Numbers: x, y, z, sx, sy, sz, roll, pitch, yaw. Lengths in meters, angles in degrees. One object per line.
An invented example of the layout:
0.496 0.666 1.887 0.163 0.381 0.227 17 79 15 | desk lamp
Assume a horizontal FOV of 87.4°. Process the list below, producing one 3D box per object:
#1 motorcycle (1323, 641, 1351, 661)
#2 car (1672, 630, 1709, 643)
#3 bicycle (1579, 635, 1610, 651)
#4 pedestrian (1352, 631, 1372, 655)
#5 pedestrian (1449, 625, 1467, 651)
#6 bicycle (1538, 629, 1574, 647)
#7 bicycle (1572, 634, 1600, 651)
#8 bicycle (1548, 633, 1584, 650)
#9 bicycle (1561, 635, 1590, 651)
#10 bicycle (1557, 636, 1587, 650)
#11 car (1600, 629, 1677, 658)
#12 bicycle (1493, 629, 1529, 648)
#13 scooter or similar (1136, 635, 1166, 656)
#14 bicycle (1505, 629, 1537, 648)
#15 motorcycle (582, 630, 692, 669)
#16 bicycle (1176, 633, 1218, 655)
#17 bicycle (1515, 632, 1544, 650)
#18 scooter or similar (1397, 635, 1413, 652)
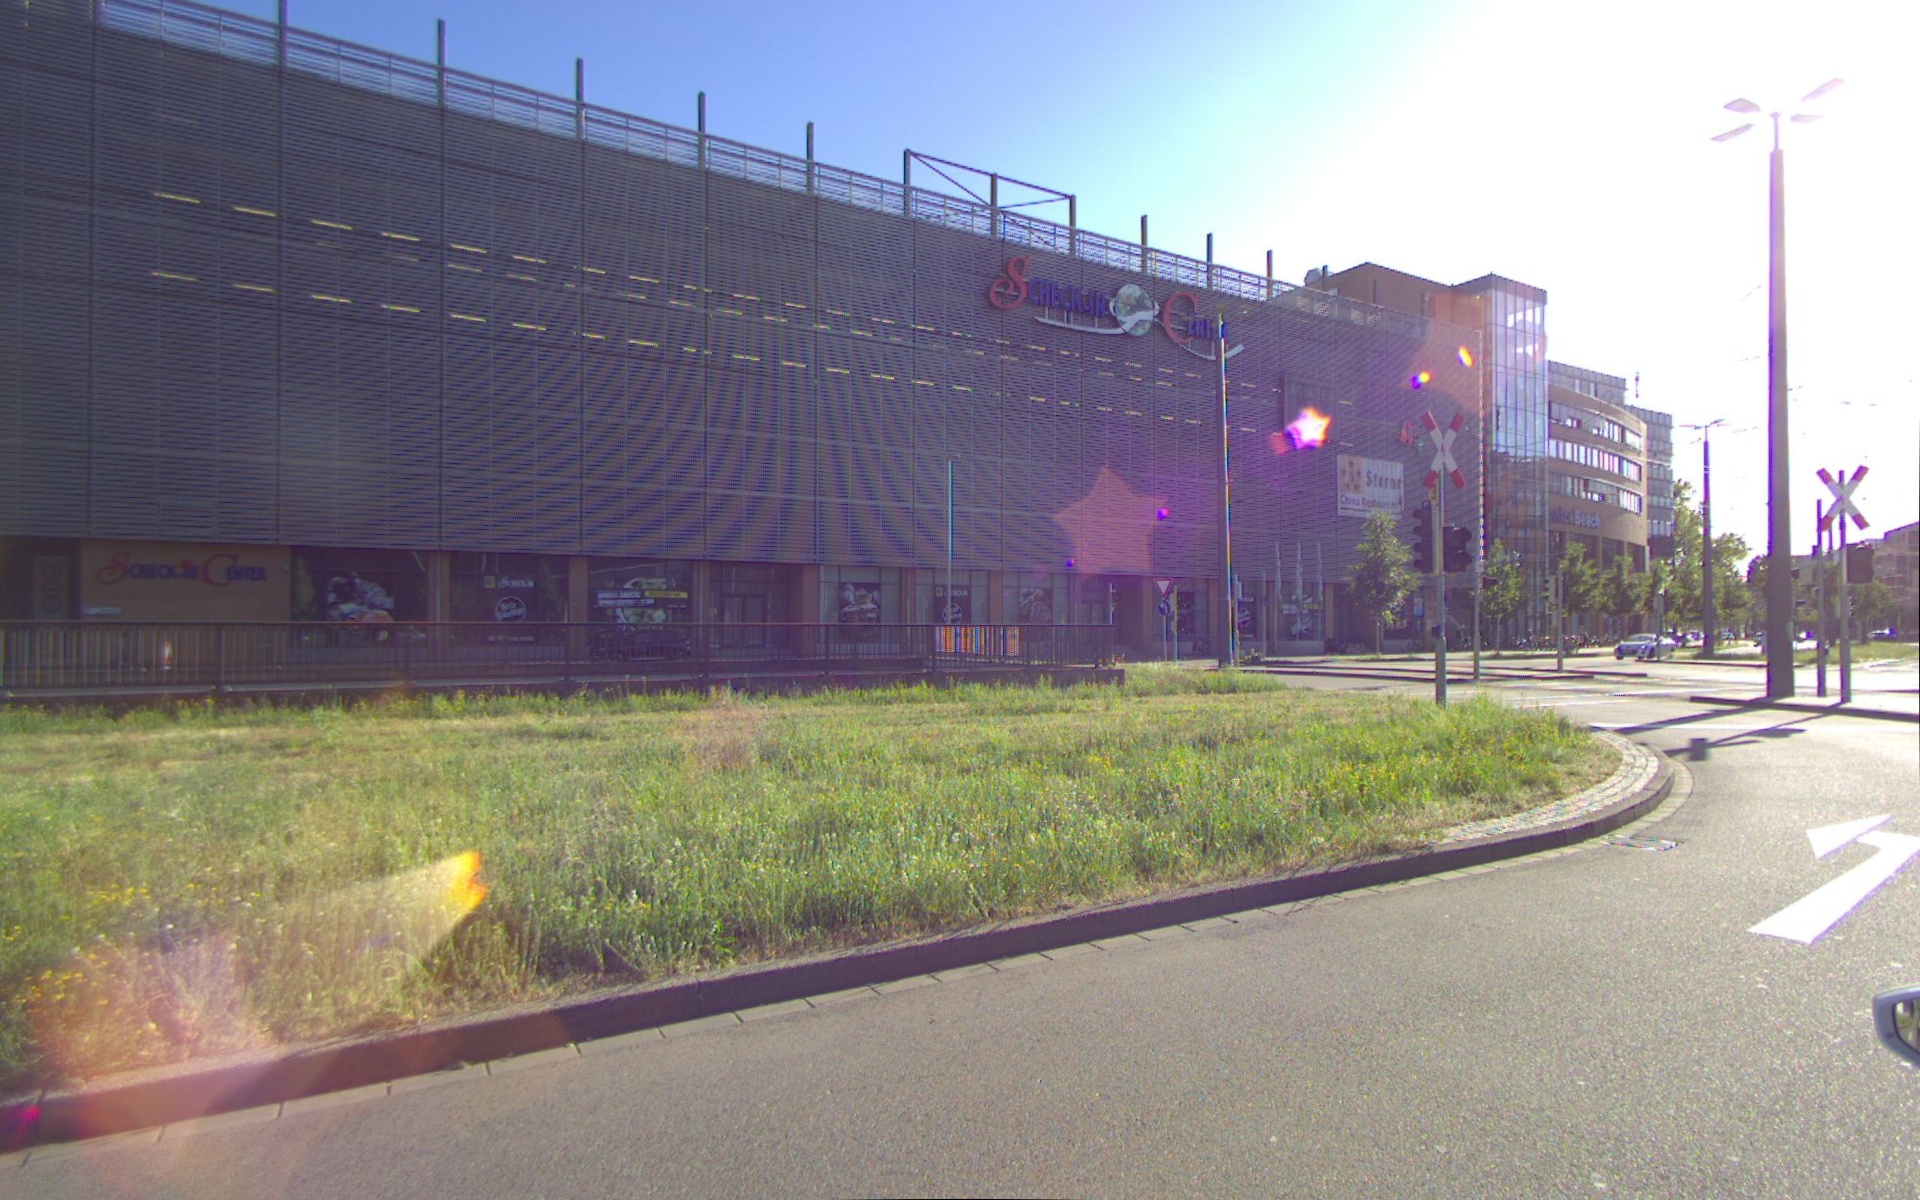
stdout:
24.031 3.251 64.042 1.872 1.255 0.672 2 -3 -31 | motorcycle
101.050 5.035 138.913 3.930 1.728 1.996 -1 -3 32 | car
58.311 3.966 92.349 0.777 1.452 2.417 1 -3 -21 | bicycle
27.759 2.961 69.341 0.819 1.586 0.983 2 -3 -30 | pedestrian
36.127 2.768 72.834 0.894 1.848 0.823 2 -3 -29 | pedestrian
48.335 3.109 81.482 0.891 1.452 2.558 1 -3 -21 | bicycle
57.252 3.881 91.870 0.747 1.452 2.135 1 -3 -21 | bicycle
50.047 3.430 82.966 0.891 1.452 2.558 1 -3 -21 | bicycle
55.574 3.875 90.741 0.707 1.452 2.242 1 -3 -21 | bicycle
54.923 3.858 90.186 0.734 1.252 2.410 1 -3 -21 | bicycle
38.293 2.441 56.673 4.479 1.566 1.983 1 -1 -32 | car
43.154 3.011 78.672 1.060 1.452 2.366 1 -3 -21 | bicycle
11.031 2.636 58.067 1.555 1.222 0.790 2 -3 -30 | scooter or similar
44.146 3.005 79.071 0.848 1.452 2.080 1 -3 -21 | bicycle
-13.112 1.976 40.774 3.953 1.472 1.984 1 -2 -30 | motorcycle
13.577 2.496 57.511 2.384 1.237 0.797 1 -1 -27 | bicycle
45.107 3.243 79.587 0.795 1.452 1.975 1 -3 -21 | bicycle
30.942 3.027 69.825 1.138 1.124 0.419 2 -3 -30 | scooter or similar
